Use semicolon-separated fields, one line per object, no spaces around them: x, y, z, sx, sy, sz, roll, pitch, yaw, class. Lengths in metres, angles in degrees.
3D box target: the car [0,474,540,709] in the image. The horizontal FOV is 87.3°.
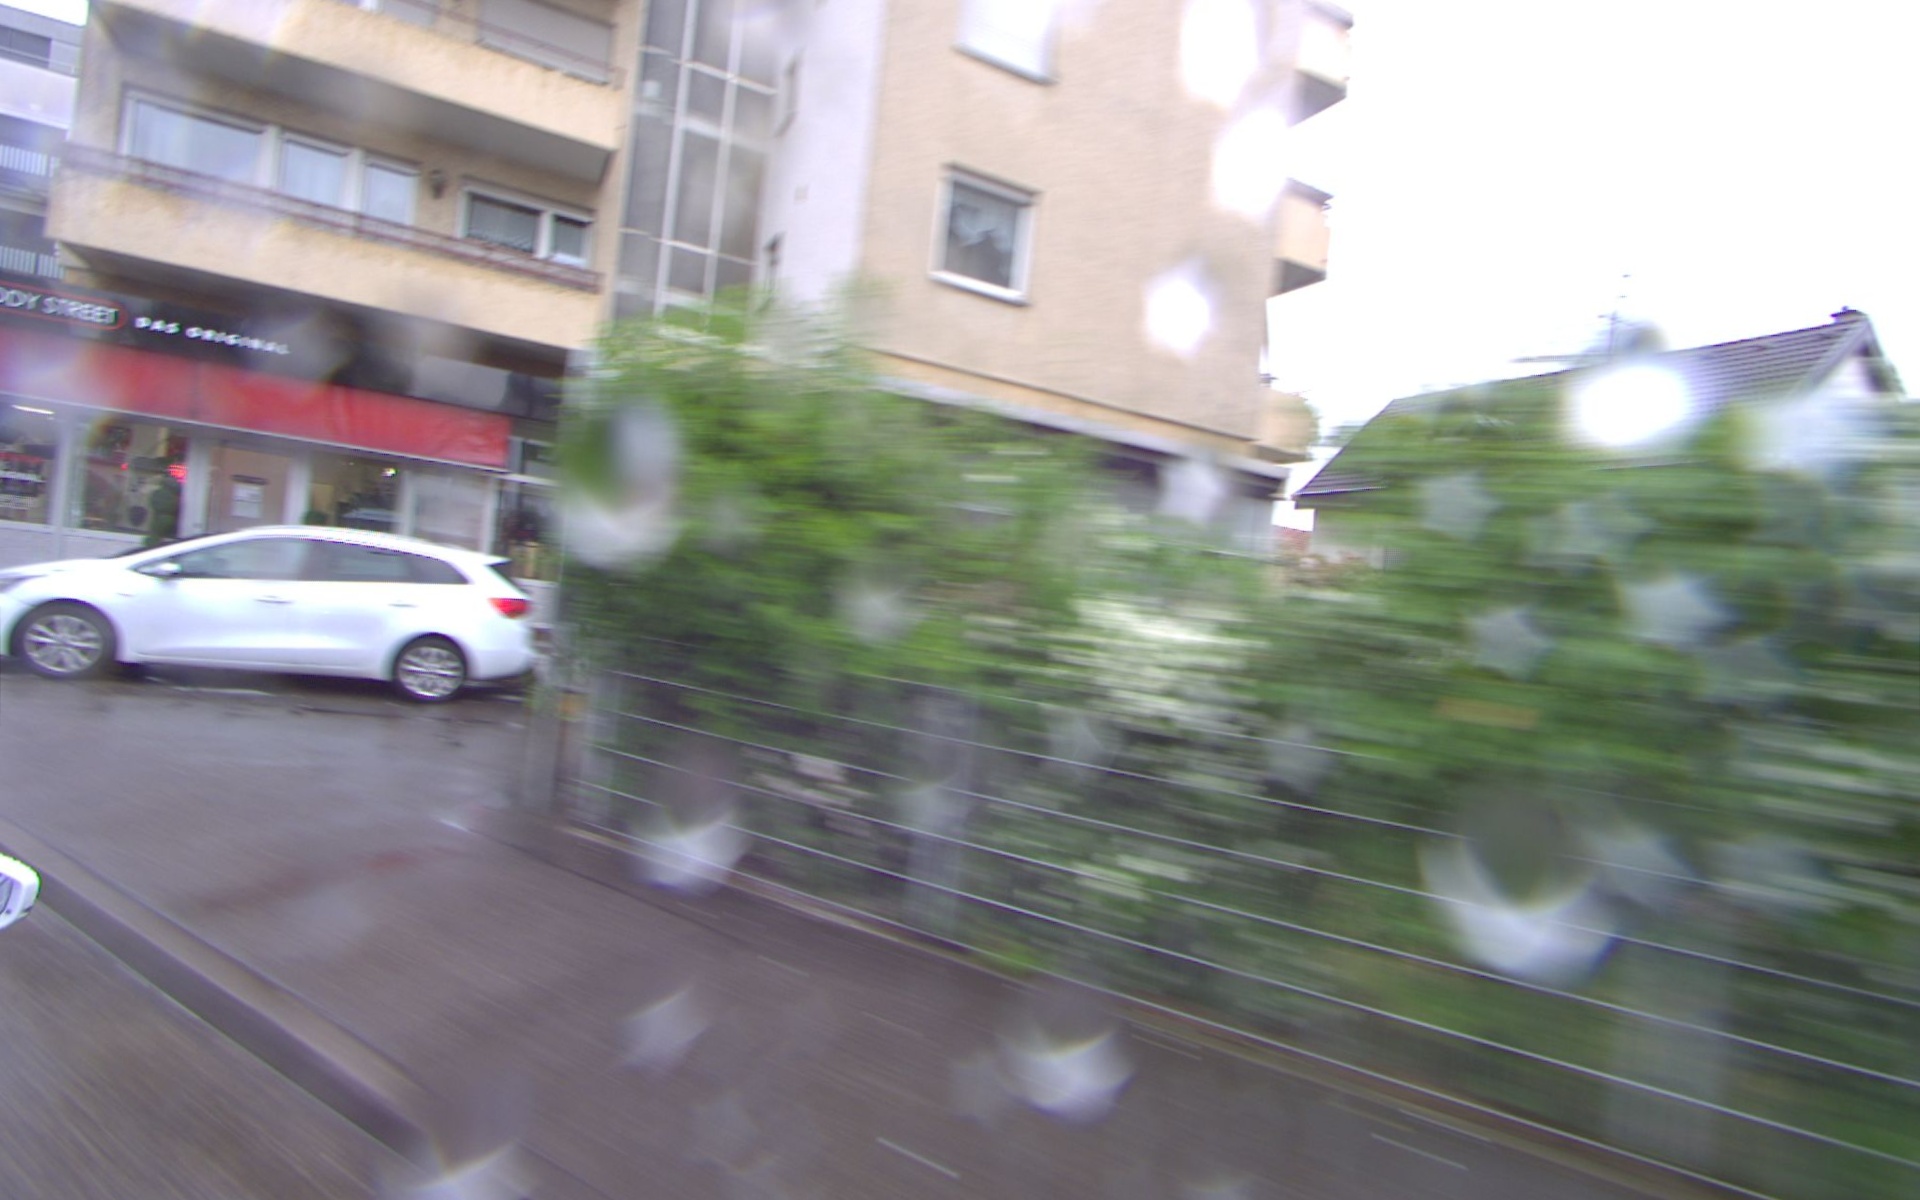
-6.401;-0.034;9.446;4.226;1.512;1.858;9;0;-30;car
